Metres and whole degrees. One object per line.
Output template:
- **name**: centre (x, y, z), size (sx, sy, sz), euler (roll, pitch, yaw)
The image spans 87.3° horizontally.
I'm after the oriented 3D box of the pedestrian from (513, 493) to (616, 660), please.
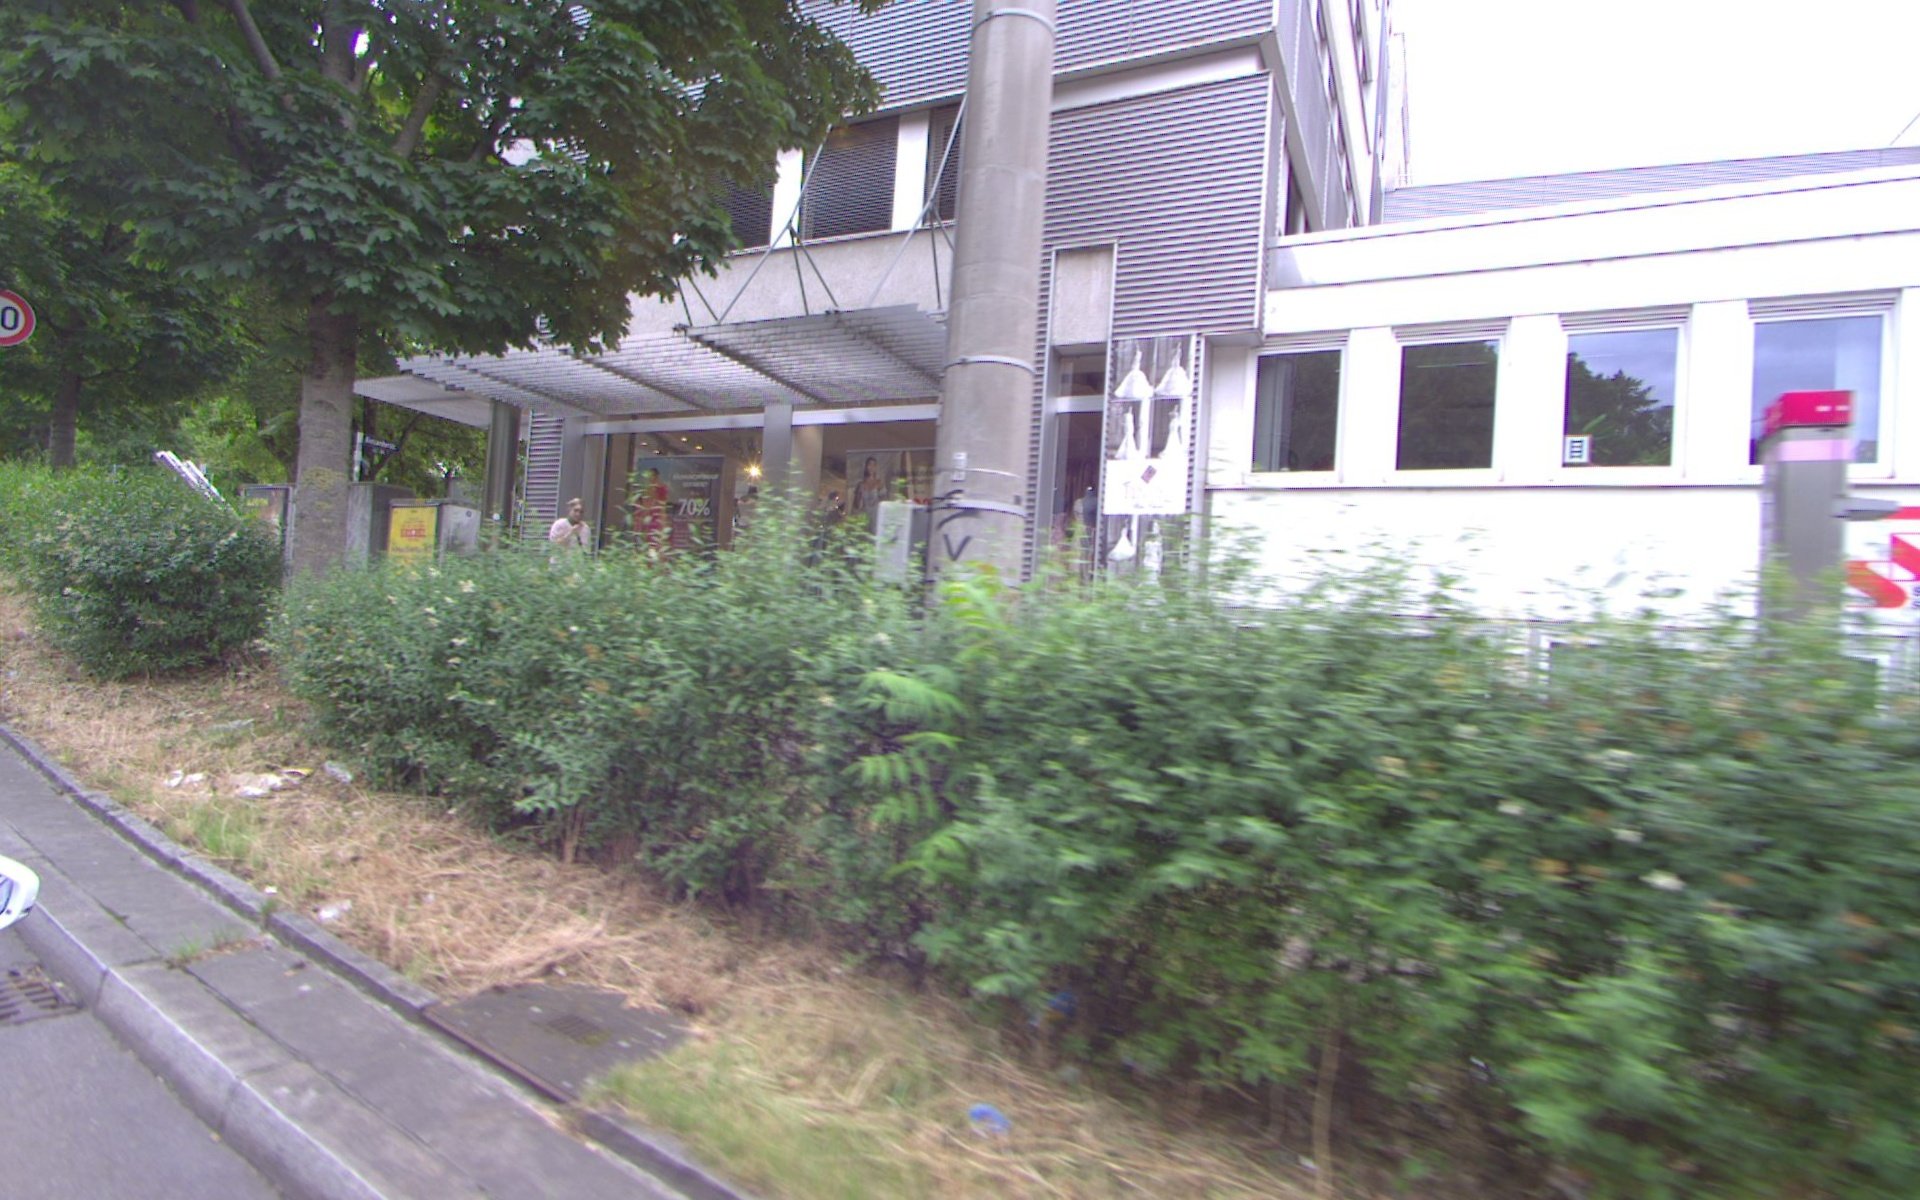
- **pedestrian**: centre (-4.593, -0.260, 11.715), size (0.598, 1.815, 0.675), euler (7, -1, 25)
